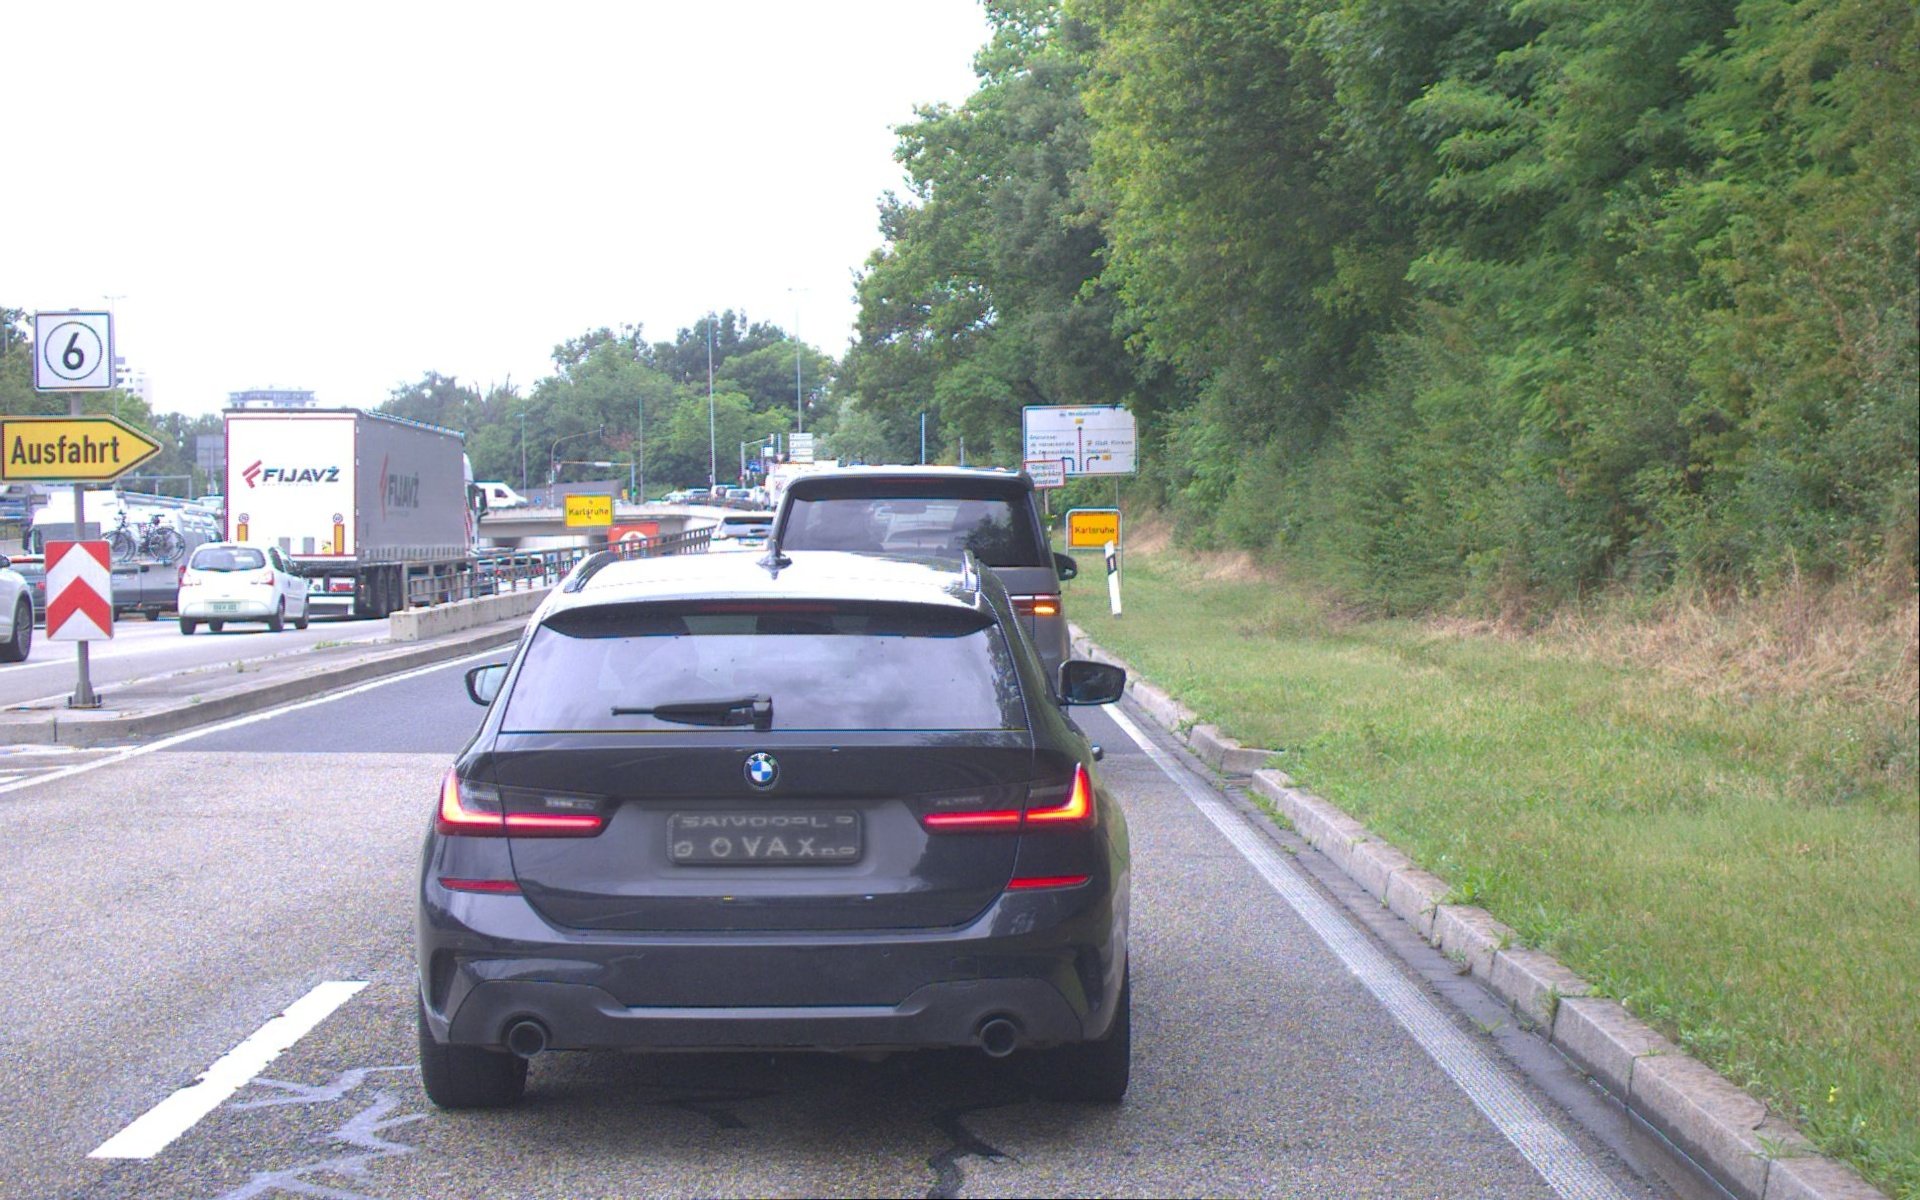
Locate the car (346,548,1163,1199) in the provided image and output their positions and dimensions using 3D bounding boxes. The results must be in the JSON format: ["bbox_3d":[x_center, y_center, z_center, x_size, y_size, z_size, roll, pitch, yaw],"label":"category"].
[{"bbox_3d":[-0.530,0.598,9.795,1.846,1.461,4.001,0,1,-2],"label":"car"}]

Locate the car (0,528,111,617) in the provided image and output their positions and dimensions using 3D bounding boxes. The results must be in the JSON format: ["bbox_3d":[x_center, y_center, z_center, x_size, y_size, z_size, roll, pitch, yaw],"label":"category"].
[{"bbox_3d":[-17.430,-0.548,65.428,1.687,1.626,3.735,1,1,-2],"label":"car"}]

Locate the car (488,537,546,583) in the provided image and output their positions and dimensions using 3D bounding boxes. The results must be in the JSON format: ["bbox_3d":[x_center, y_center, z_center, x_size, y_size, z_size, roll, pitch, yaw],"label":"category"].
[{"bbox_3d":[-13.802,-1.263,107.217,1.378,1.393,3.062,-1,1,0],"label":"car"}]

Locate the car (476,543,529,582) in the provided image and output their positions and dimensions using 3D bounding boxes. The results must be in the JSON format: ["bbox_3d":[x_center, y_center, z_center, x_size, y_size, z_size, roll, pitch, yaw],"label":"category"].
[{"bbox_3d":[-17.507,-1.452,131.678,1.593,1.427,3.062,-1,1,0],"label":"car"}]

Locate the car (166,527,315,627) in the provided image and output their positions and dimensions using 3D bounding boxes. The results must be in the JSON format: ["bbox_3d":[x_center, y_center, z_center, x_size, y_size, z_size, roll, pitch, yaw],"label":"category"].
[{"bbox_3d":[-11.673,-0.402,55.958,1.768,1.544,3.493,-1,1,-2],"label":"car"}]

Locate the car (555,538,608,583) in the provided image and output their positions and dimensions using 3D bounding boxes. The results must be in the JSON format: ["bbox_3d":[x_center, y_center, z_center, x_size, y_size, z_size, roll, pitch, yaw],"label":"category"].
[{"bbox_3d":[-12.940,-1.347,117.657,1.448,1.485,3.062,-1,1,0],"label":"car"}]

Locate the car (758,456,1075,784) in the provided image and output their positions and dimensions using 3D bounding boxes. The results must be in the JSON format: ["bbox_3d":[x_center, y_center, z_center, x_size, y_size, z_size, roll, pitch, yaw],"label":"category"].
[{"bbox_3d":[-0.254,0.072,21.589,1.796,1.865,4.000,0,1,0],"label":"car"}]

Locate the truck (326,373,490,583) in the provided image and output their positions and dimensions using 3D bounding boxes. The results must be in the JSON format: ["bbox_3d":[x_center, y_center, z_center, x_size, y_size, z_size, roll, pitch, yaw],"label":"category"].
[{"bbox_3d":[-12.626,-2.763,78.975,3.084,4.681,4.232,0,1,-1],"label":"truck"}]

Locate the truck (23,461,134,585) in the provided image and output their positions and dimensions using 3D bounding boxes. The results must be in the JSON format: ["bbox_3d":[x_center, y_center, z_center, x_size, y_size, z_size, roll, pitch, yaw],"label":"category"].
[{"bbox_3d":[-28.918,-2.529,112.864,2.596,3.977,4.000,-1,1,-1],"label":"truck"}]

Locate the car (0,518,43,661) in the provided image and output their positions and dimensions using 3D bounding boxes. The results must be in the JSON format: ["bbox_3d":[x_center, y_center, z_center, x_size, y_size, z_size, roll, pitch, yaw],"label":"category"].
[{"bbox_3d":[-12.248,-0.104,40.032,1.946,1.686,4.507,-1,1,-1],"label":"car"}]

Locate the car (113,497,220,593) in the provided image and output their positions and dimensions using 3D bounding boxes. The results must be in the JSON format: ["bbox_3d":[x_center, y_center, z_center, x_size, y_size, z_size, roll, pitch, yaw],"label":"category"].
[{"bbox_3d":[-17.432,-1.220,75.676,1.443,2.037,3.680,-1,1,0],"label":"car"}]

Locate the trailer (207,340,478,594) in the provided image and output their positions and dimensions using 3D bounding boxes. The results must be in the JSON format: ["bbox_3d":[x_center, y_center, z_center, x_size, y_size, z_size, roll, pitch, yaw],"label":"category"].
[{"bbox_3d":[-12.559,-2.623,71.504,3.132,4.709,14.559,0,1,-1],"label":"trailer"}]

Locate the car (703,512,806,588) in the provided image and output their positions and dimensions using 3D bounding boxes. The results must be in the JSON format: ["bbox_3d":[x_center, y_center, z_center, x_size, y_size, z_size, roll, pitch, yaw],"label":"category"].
[{"bbox_3d":[-4.442,-1.109,74.716,1.931,1.590,3.877,-1,1,1],"label":"car"}]

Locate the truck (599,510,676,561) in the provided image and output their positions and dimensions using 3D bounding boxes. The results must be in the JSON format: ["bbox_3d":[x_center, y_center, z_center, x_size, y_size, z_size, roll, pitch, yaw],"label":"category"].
[{"bbox_3d":[-16.387,-3.286,175.392,3.274,2.500,7.661,-1,1,-1],"label":"truck"}]
